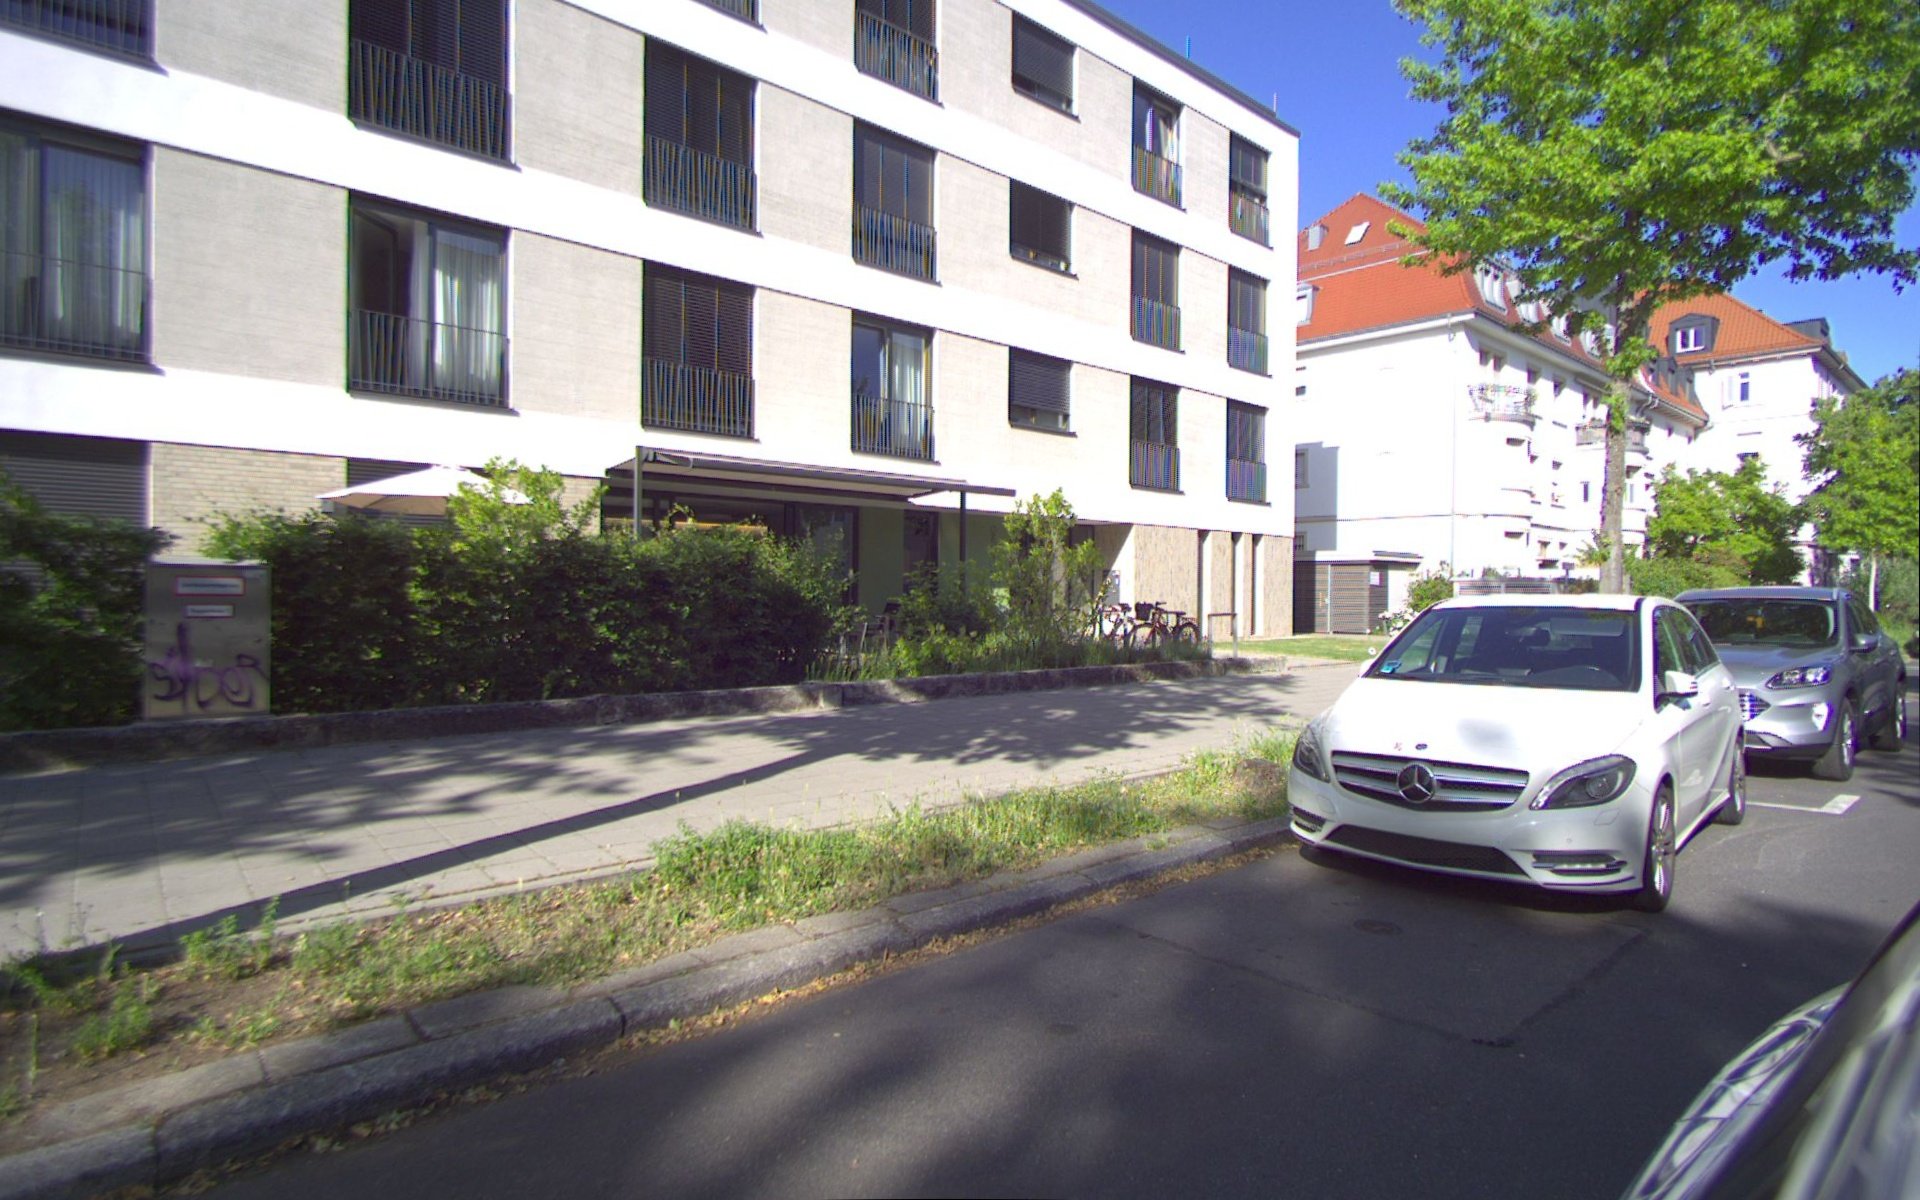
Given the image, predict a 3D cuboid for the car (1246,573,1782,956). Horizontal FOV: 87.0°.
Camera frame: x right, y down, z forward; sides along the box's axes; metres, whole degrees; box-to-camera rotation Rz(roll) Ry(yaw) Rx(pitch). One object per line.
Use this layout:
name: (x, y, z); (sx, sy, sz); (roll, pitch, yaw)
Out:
car: (3.746, 0.651, 6.354); (1.781, 1.537, 4.612); (0, 0, 44)

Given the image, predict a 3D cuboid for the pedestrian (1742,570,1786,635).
pedestrian: (26.047, 0.072, 32.774); (0.988, 2.039, 0.907); (0, 1, -41)

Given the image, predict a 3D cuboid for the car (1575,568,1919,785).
car: (8.053, 0.577, 10.019); (4.774, 1.668, 1.901); (0, 0, -39)

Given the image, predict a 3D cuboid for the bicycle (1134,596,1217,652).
bicycle: (3.730, 0.396, 17.448); (1.581, 0.905, 0.564); (0, 1, -41)

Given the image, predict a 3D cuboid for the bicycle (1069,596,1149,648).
bicycle: (2.753, 0.387, 18.590); (1.581, 0.905, 0.564); (0, 1, -41)
